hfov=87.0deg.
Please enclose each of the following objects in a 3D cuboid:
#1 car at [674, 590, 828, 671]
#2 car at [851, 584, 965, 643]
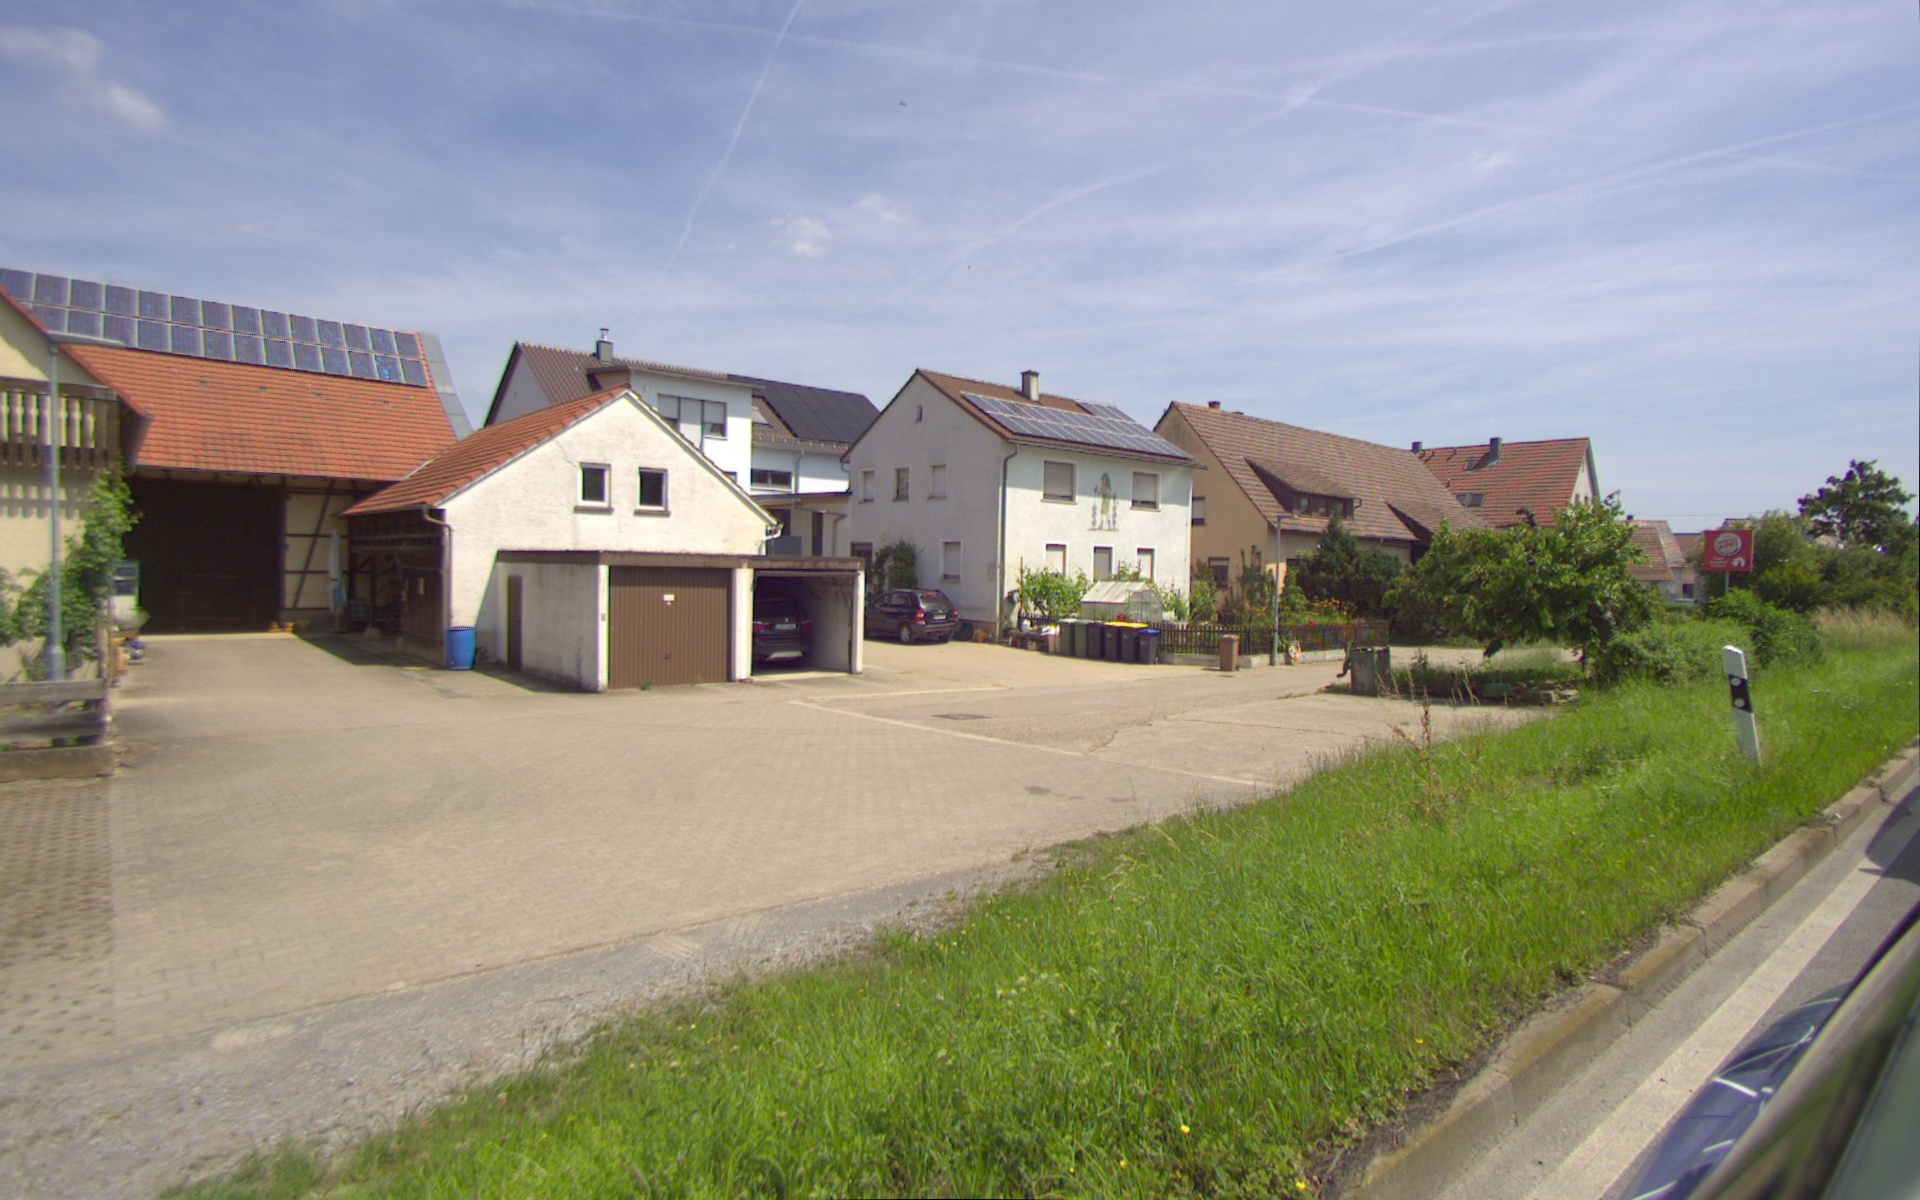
[{"bbox_3d":[-4.877,0.616,23.283,1.802,1.597,3.996,-1,2,-40],"label":"car"},{"bbox_3d":[-1.777,0.391,33.528,1.810,1.714,3.959,-1,3,-38],"label":"car"}]
